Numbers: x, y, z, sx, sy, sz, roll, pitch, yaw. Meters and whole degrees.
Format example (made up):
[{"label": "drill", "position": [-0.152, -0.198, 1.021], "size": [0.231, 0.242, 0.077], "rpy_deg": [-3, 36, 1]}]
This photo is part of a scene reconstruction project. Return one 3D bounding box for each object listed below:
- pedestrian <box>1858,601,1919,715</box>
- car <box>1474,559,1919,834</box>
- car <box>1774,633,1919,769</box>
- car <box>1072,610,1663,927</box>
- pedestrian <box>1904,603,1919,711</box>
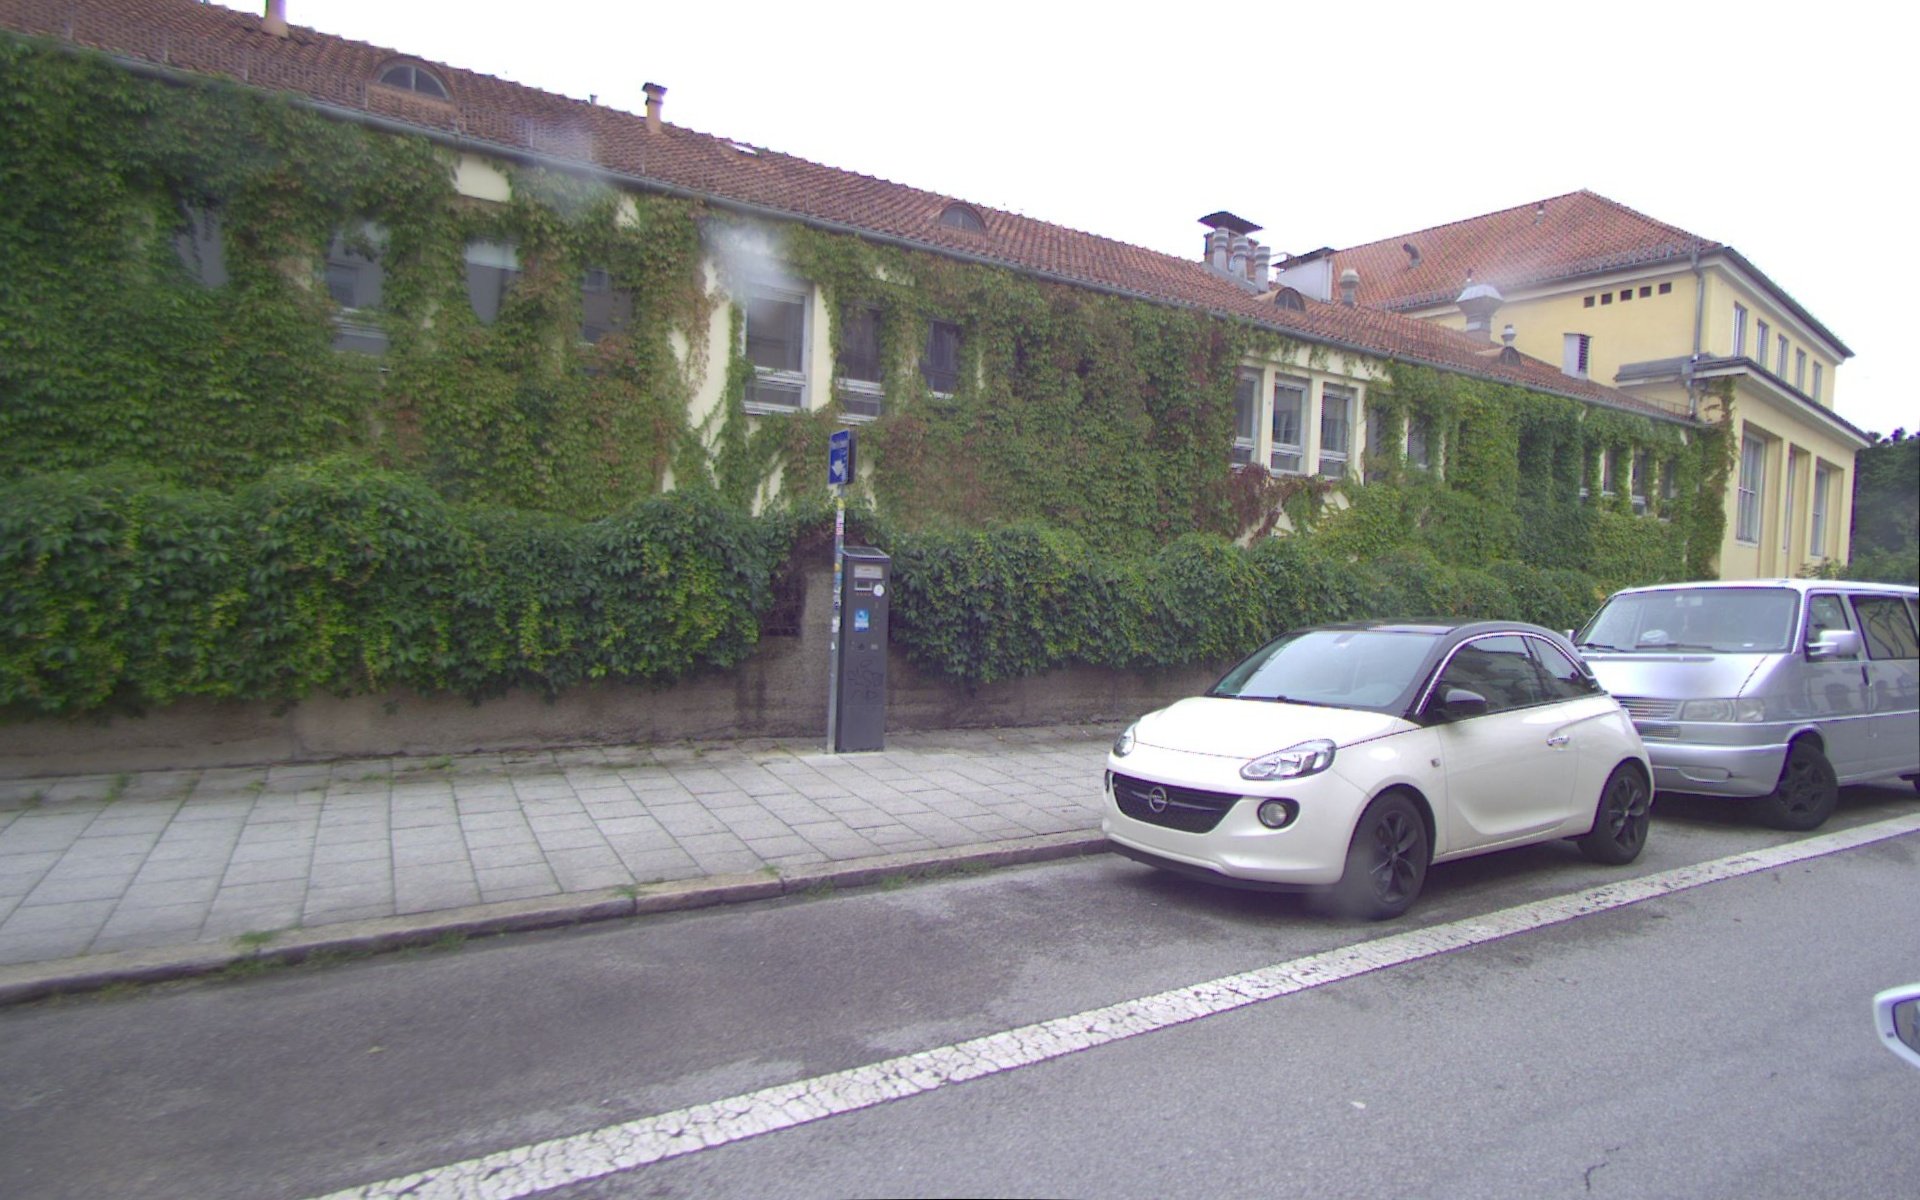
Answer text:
[{"label": "pedestrian", "position": [14.394, 0.866, 15.385], "size": [0.862, 1.674, 0.678], "rpy_deg": [1, 1, -32]}, {"label": "car", "position": [6.796, 0.721, 8.731], "size": [4.825, 1.822, 1.884], "rpy_deg": [1, -3, -31]}, {"label": "car", "position": [11.648, 1.120, 11.809], "size": [4.439, 1.395, 1.795], "rpy_deg": [2, -4, -31]}, {"label": "car", "position": [2.580, 0.806, 6.186], "size": [3.520, 1.428, 1.658], "rpy_deg": [1, -1, -32]}, {"label": "pedestrian", "position": [16.304, 0.957, 16.529], "size": [0.862, 1.778, 0.839], "rpy_deg": [1, 1, -30]}]
